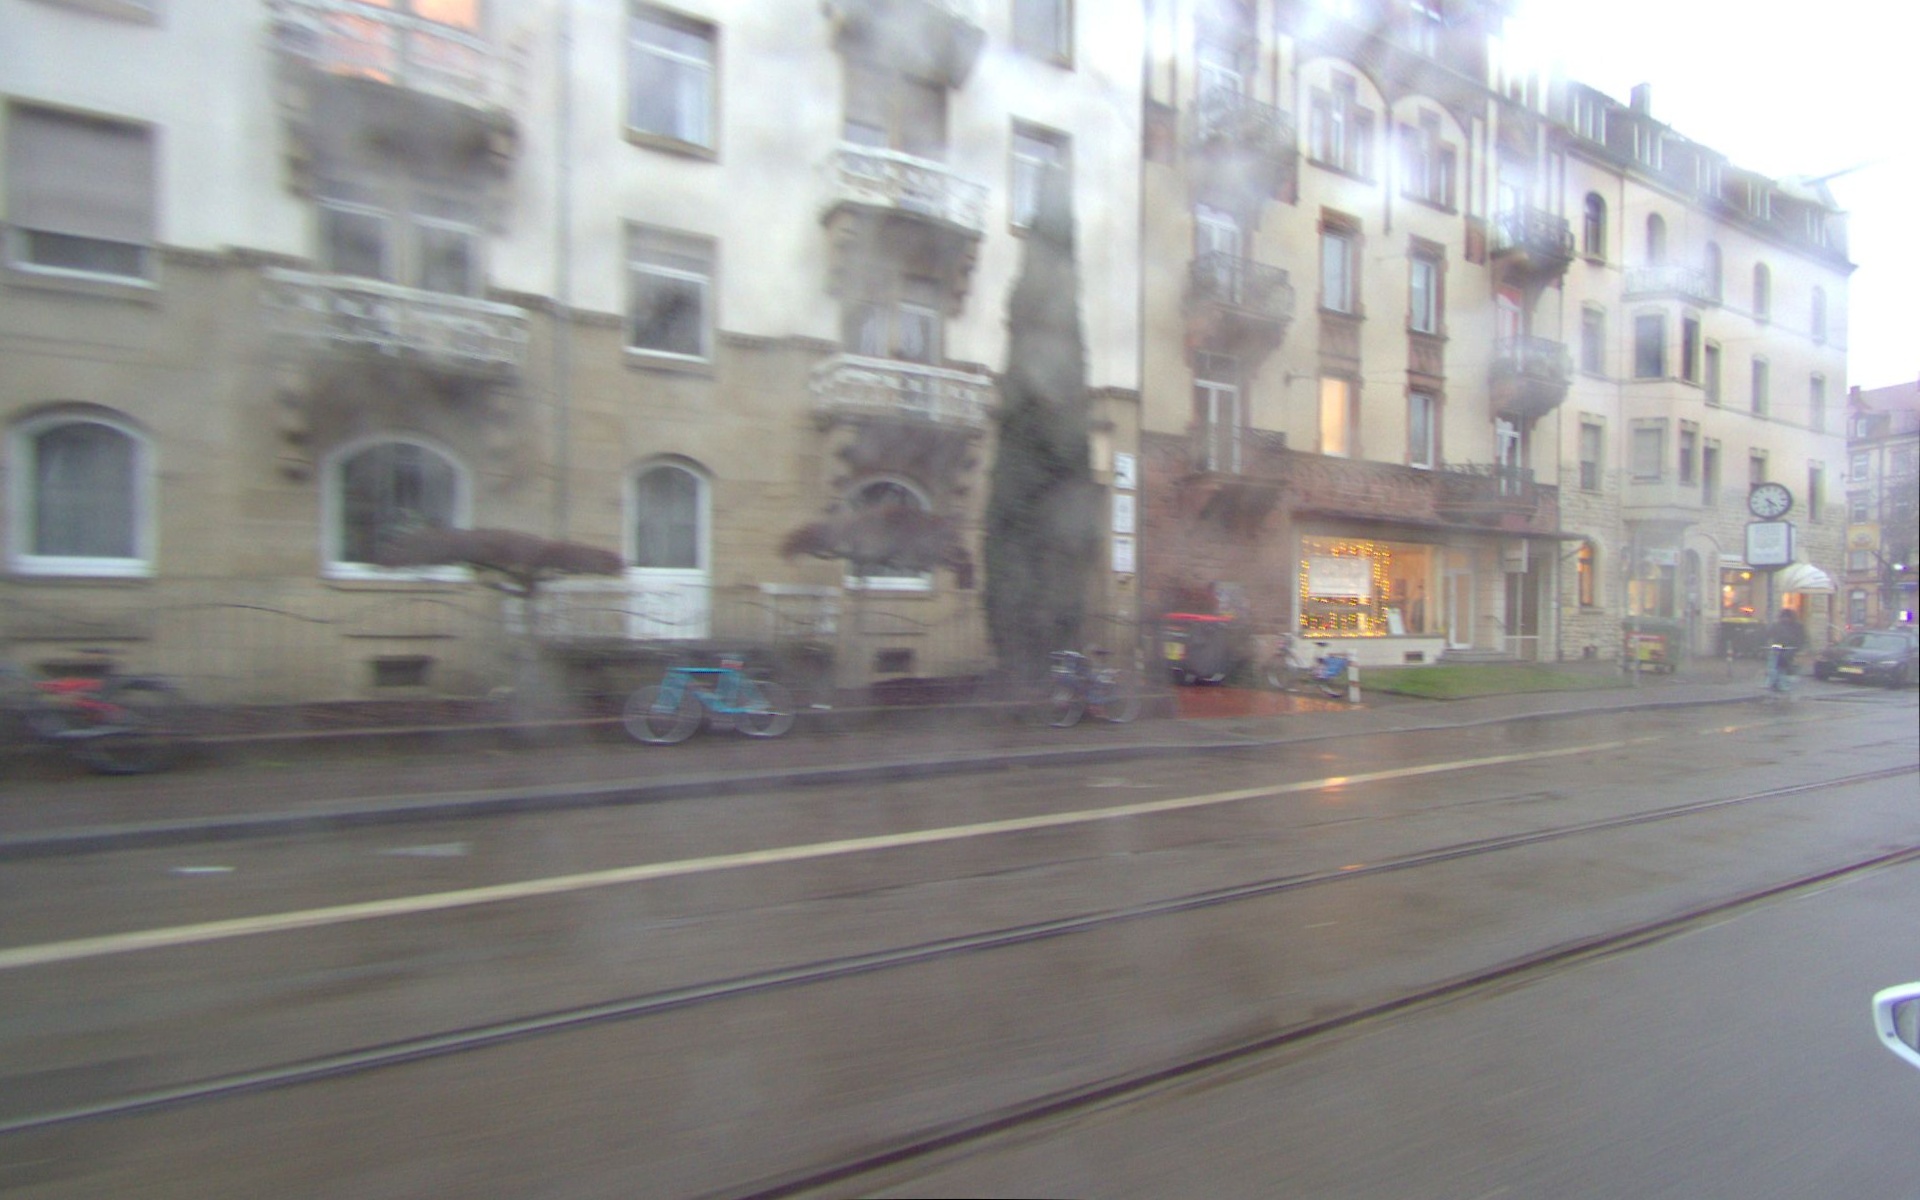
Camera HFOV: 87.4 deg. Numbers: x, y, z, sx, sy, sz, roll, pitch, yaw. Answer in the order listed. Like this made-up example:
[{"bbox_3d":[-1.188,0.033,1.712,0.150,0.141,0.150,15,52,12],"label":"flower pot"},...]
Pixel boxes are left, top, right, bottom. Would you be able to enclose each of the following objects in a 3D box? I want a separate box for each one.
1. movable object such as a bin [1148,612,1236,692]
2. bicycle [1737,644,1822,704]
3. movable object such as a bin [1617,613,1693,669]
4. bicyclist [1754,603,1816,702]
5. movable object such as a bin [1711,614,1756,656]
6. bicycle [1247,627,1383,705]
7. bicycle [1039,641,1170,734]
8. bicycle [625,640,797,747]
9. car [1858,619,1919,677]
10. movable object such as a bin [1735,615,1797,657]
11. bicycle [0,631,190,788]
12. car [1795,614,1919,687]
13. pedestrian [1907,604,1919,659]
[{"bbox_3d":[4.379,0.959,19.017,1.153,1.398,1.097,1,3,-29],"label":"movable object such as a bin"},{"bbox_3d":[16.111,1.436,19.738,1.923,1.107,0.621,1,0,-28],"label":"bicycle"},{"bbox_3d":[18.529,1.073,26.792,1.235,1.439,1.262,1,0,-29],"label":"movable object such as a bin"},{"bbox_3d":[16.281,1.017,19.820,0.979,1.901,0.621,1,0,-28],"label":"bicyclist"},{"bbox_3d":[26.437,1.200,34.349,0.994,1.396,0.895,1,0,-30],"label":"movable object such as a bin"},{"bbox_3d":[6.112,1.106,17.465,0.686,1.120,2.339,1,2,-28],"label":"bicycle"},{"bbox_3d":[1.880,1.105,13.057,1.641,1.107,0.621,1,0,-28],"label":"bicycle"},{"bbox_3d":[-2.576,0.936,10.429,1.641,1.016,0.621,1,0,-28],"label":"bicycle"},{"bbox_3d":[29.516,1.461,30.824,3.991,1.573,2.023,0,4,-35],"label":"car"},{"bbox_3d":[27.765,1.211,34.610,1.237,1.385,1.288,1,0,-30],"label":"movable object such as a bin"},{"bbox_3d":[-7.120,0.823,7.763,1.761,1.141,0.621,1,0,-28],"label":"bicycle"},{"bbox_3d":[24.956,1.353,27.391,4.581,1.667,1.974,2,4,-33],"label":"car"},{"bbox_3d":[35.881,1.185,37.316,0.635,2.040,0.758,1,0,6],"label":"pedestrian"}]
